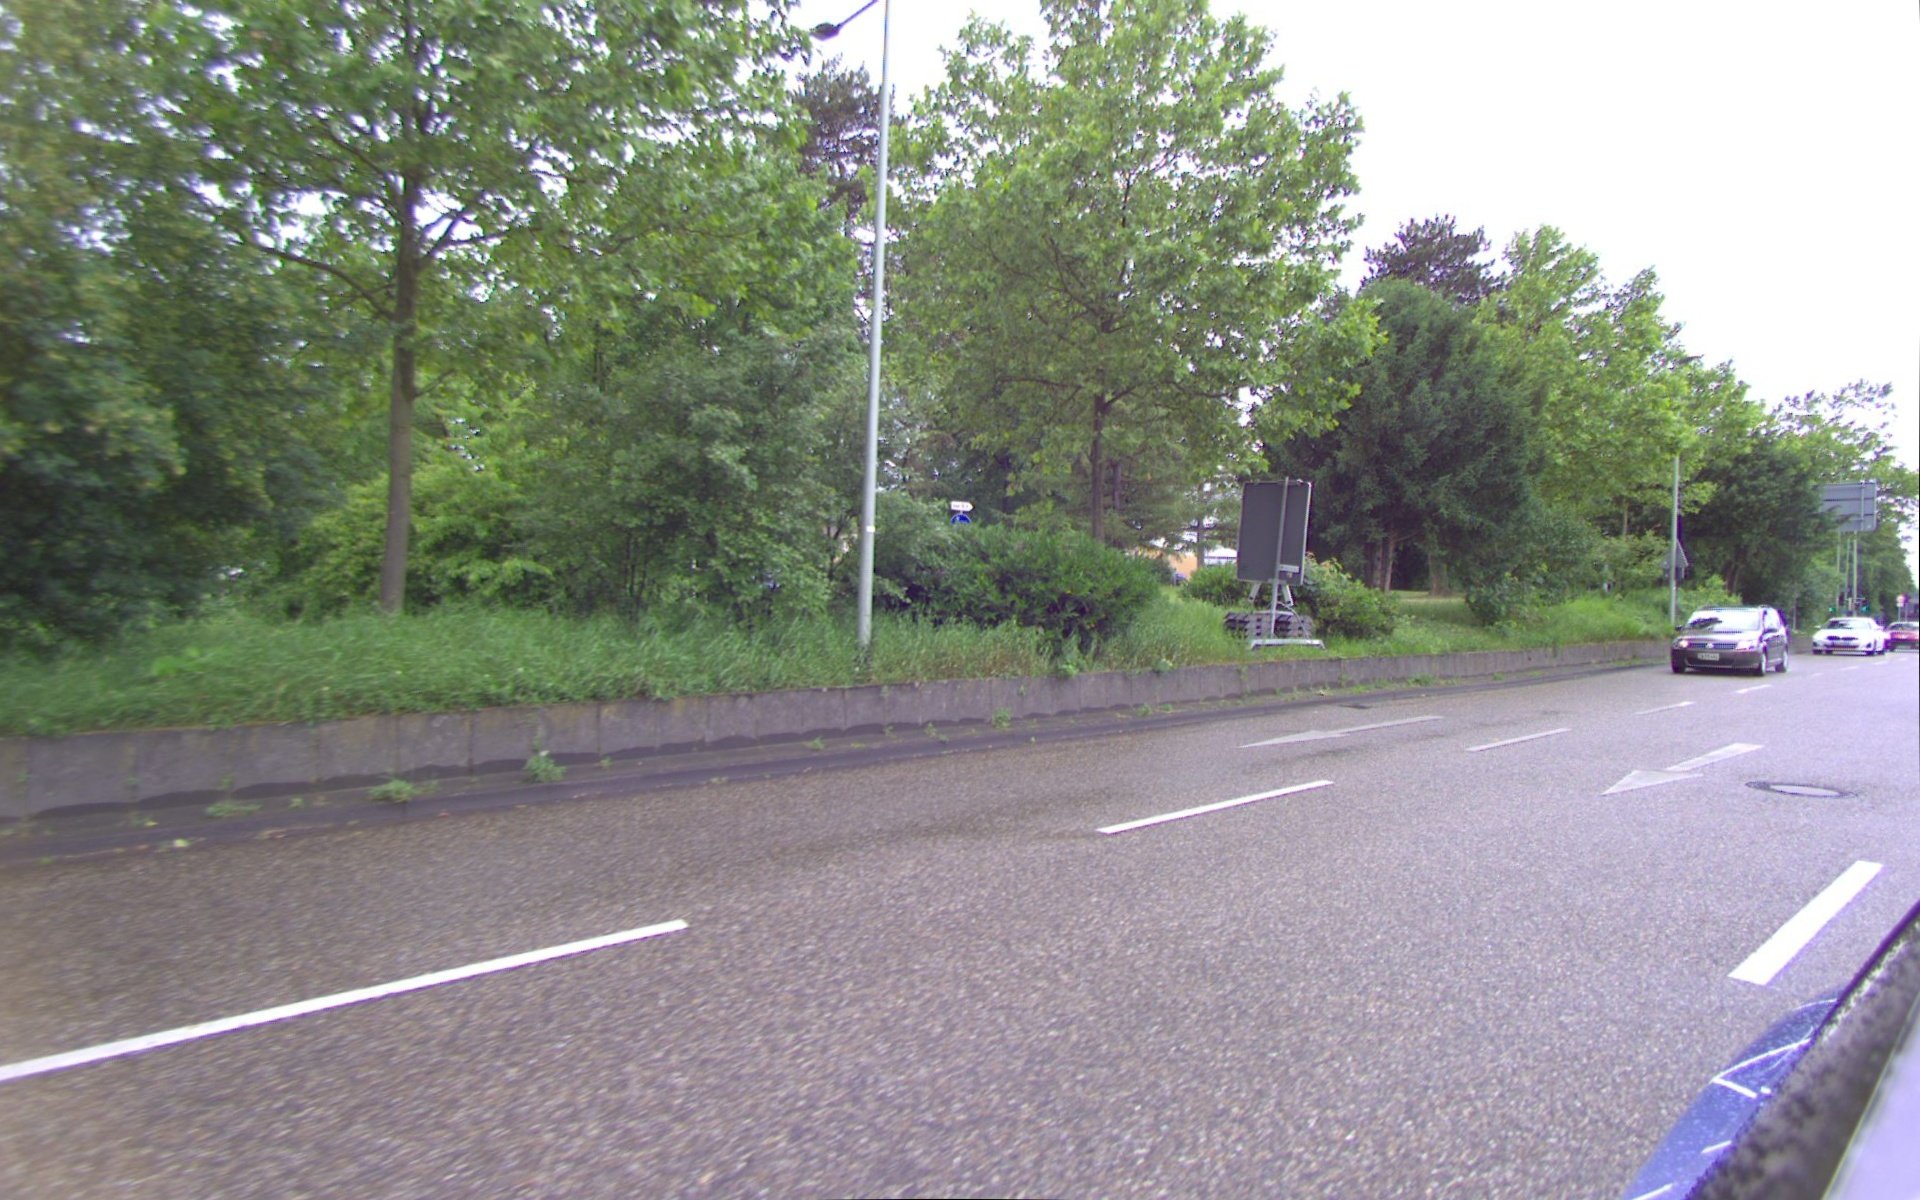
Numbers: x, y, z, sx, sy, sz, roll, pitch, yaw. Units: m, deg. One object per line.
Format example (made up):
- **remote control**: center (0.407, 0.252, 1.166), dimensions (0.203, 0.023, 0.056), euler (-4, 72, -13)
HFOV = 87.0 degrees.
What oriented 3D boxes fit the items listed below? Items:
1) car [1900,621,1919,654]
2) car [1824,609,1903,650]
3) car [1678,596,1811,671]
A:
- **car**: center (44.339, 1.747, 46.299), dimensions (3.477, 1.475, 1.632), euler (3, -1, -42)
- **car**: center (34.998, 1.164, 39.159), dimensions (4.599, 1.475, 1.782), euler (3, -1, -42)
- **car**: center (18.776, 0.795, 24.174), dimensions (3.909, 1.630, 1.750), euler (2, -1, -40)
